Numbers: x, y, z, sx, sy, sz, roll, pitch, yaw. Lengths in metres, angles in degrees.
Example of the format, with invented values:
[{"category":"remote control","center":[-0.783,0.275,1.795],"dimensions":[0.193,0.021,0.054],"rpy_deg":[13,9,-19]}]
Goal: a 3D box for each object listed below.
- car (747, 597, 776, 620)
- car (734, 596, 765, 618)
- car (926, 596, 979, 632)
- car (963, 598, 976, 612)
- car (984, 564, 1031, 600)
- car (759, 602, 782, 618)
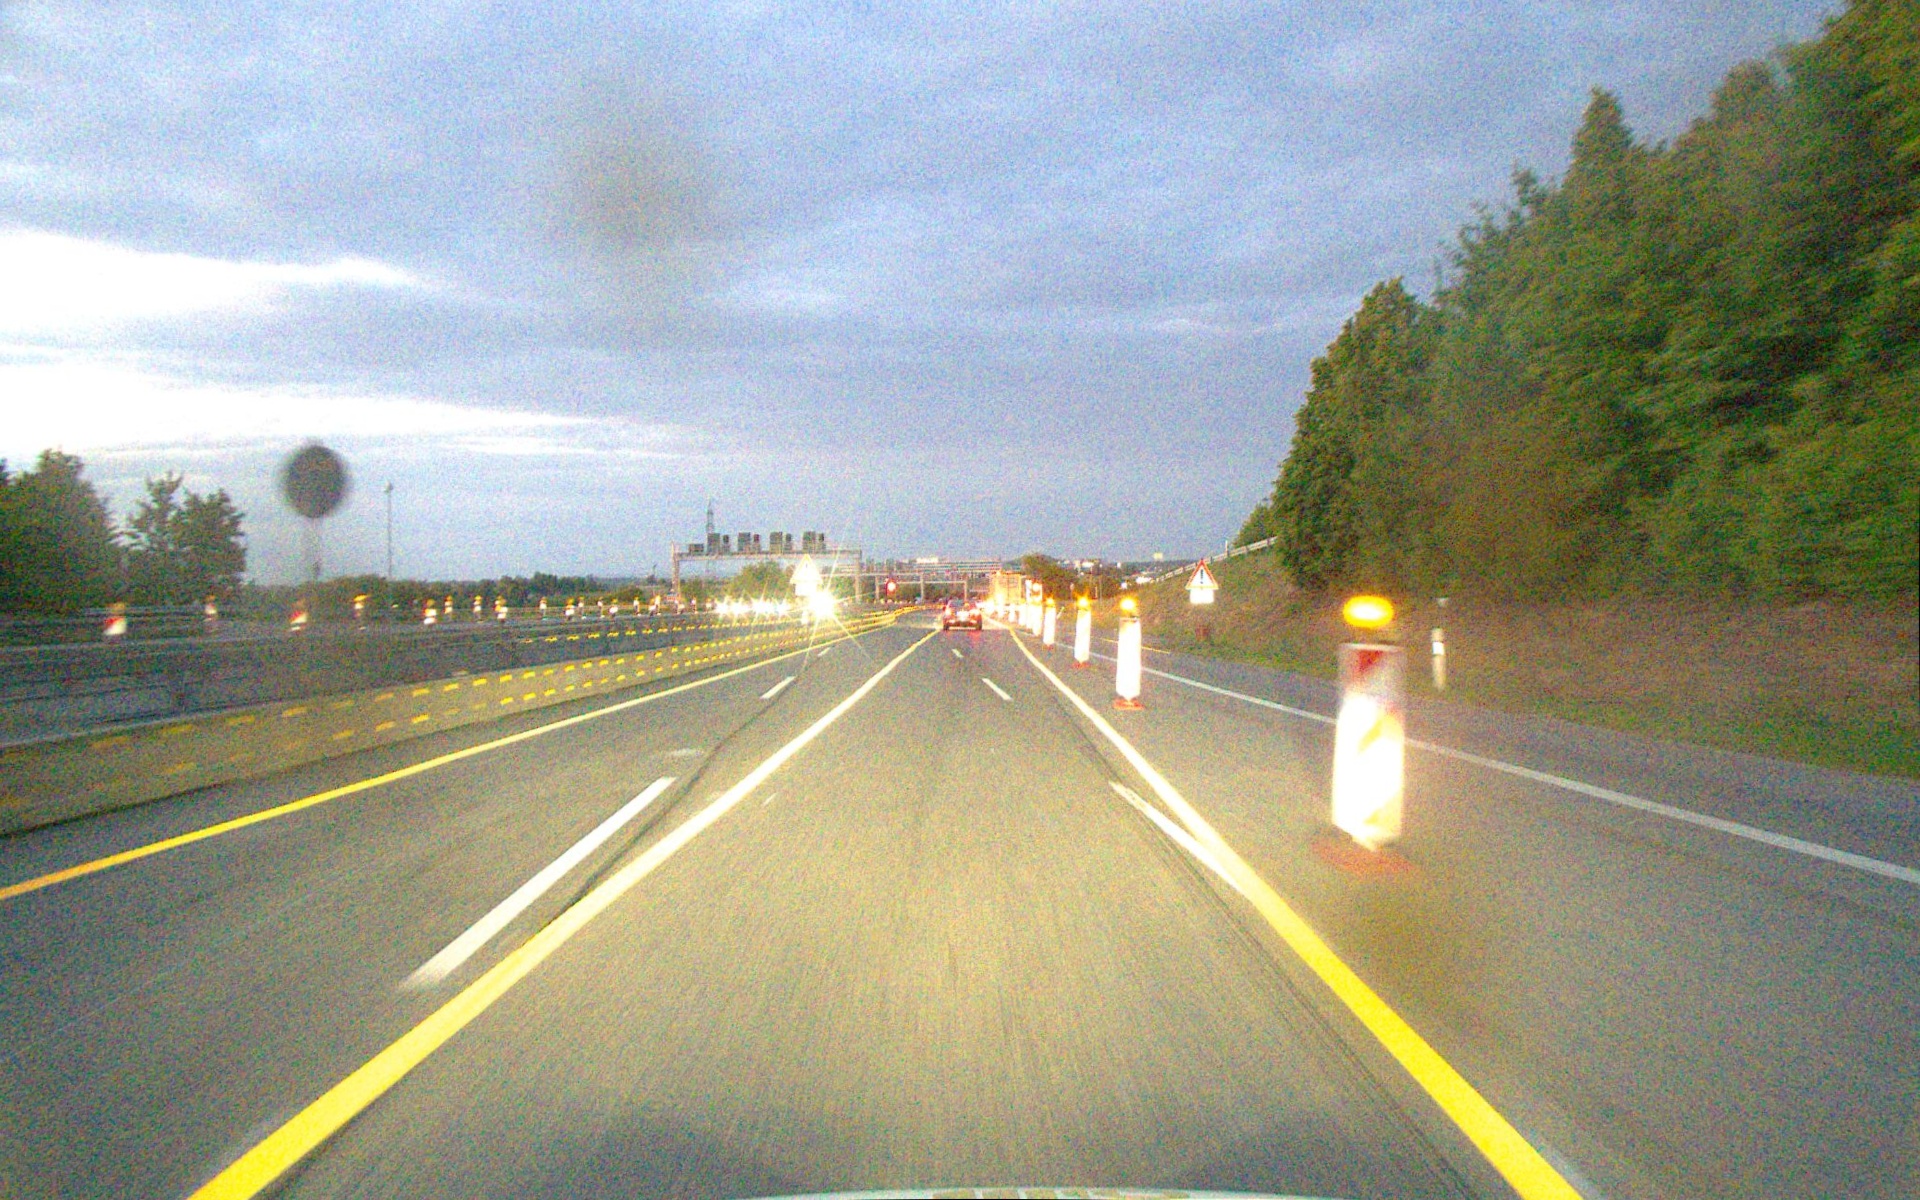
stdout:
[{"category":"car","center":[-17.161,0.722,142.986],"dimensions":[1.953,1.860,4.000],"rpy_deg":[1,0,0]},{"category":"car","center":[-17.270,0.606,135.918],"dimensions":[1.953,1.744,4.000],"rpy_deg":[1,0,0]},{"category":"car","center":[-0.381,0.662,79.186],"dimensions":[2.221,1.649,3.996],"rpy_deg":[1,0,-5]},{"category":"car","center":[1.501,0.779,254.955],"dimensions":[1.953,2.049,3.999],"rpy_deg":[1,0,-1]},{"category":"car","center":[4.769,-1.731,167.320],"dimensions":[3.536,3.455,8.002],"rpy_deg":[1,0,-7]},{"category":"car","center":[-18.531,0.982,161.744],"dimensions":[1.727,1.489,4.690],"rpy_deg":[1,0,0]}]
